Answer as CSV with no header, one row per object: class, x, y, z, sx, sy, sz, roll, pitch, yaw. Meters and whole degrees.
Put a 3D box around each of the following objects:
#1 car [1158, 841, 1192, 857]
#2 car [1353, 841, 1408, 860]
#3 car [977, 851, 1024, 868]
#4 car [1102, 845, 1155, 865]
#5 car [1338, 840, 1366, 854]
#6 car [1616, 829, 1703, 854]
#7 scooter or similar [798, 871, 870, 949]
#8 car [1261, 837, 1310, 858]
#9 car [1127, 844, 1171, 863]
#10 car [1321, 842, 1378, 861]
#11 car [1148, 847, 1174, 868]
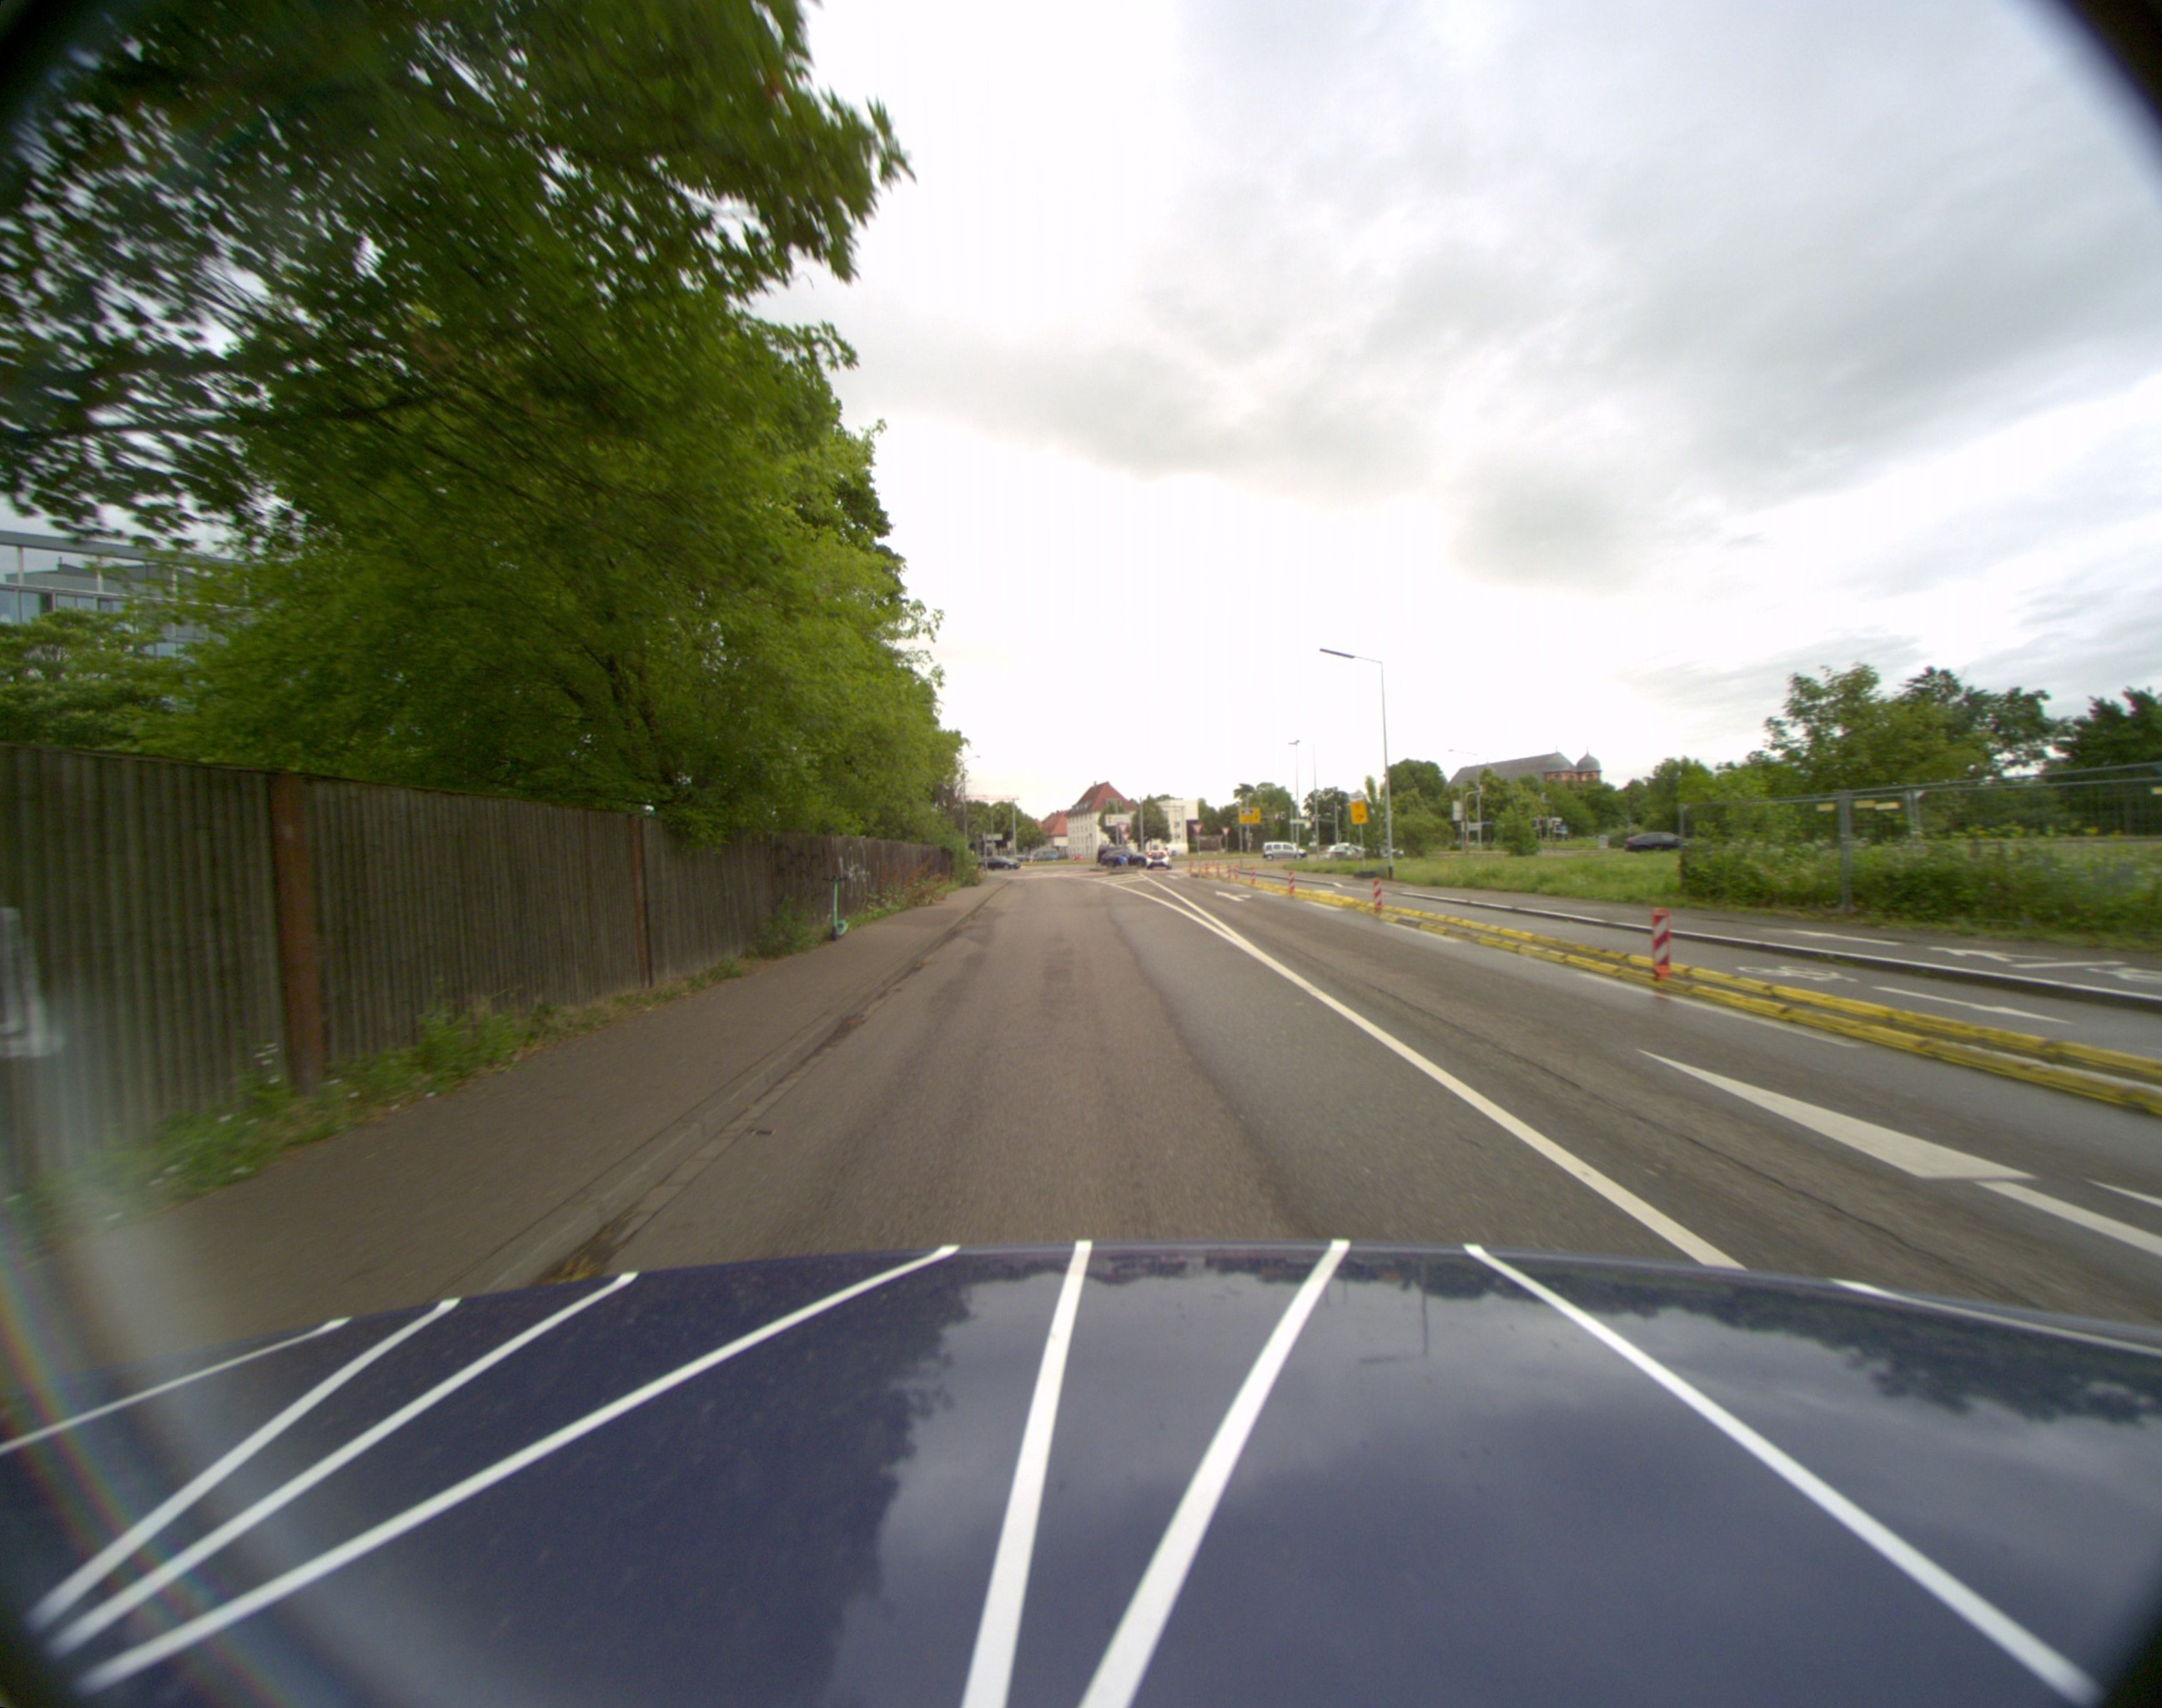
car,16.543,-0.889,133.378,5.599,2.527,2.243,-2,1,15
car,26.807,-0.332,68.234,4.466,1.449,1.924,-2,1,18
car,-8.210,0.572,77.853,4.353,1.608,2.002,-2,0,10
car,4.323,0.103,68.881,4.467,1.557,1.923,-2,1,16
car,31.511,-0.805,88.262,1.916,1.446,4.484,-2,1,36
car,42.302,-0.907,55.711,4.740,1.658,1.925,-2,1,27
scooter or similar,-4.617,0.996,14.367,0.693,1.304,2.352,-2,0,-4
car,19.958,-0.625,74.336,4.479,1.893,1.923,-2,1,9
car,6.777,-0.033,75.745,4.006,1.705,1.931,-2,1,16
car,22.832,-0.214,64.788,4.424,1.449,1.834,-2,1,16
car,6.314,0.242,60.383,1.755,1.578,3.901,0,1,1
